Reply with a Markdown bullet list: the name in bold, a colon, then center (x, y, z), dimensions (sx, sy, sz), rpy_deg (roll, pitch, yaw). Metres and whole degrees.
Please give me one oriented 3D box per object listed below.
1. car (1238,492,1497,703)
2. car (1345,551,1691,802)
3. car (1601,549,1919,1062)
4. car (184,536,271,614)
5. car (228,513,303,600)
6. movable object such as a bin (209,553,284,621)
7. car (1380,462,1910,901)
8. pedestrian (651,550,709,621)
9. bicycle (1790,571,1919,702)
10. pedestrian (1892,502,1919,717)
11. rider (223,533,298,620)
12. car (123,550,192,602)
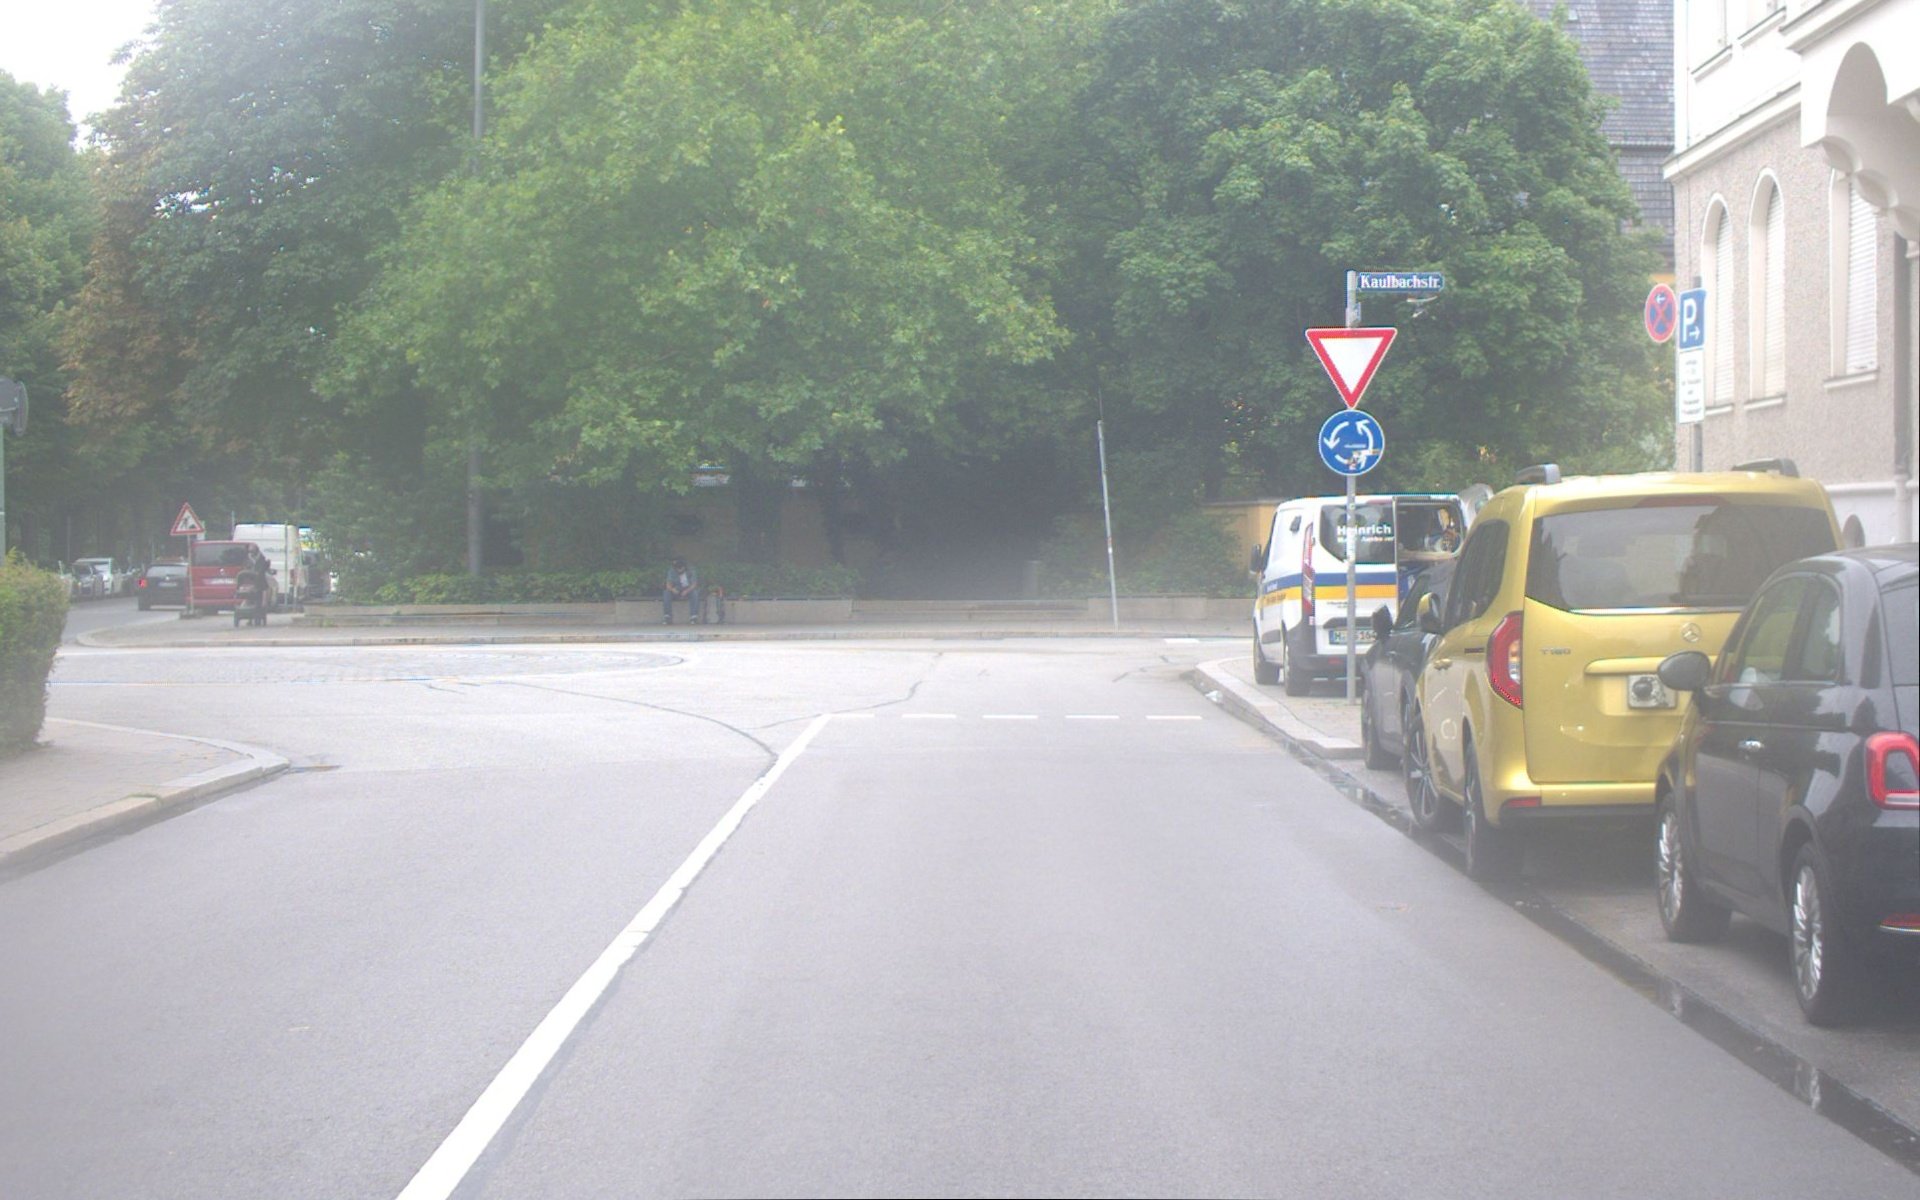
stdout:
- **car**: center (4.058, -0.073, 34.990), dimensions (1.915, 1.955, 4.927), rpy_deg (-2, 1, -1)
- **car**: center (3.530, 0.427, 22.351), dimensions (1.664, 1.452, 3.896), rpy_deg (0, 1, 1)
- **car**: center (3.363, 0.570, 11.912), dimensions (1.631, 1.479, 3.783), rpy_deg (-1, 1, 1)
- **car**: center (-18.660, -0.655, 87.699), dimensions (2.041, 1.916, 4.447), rpy_deg (-1, 1, -11)
- **car**: center (-20.836, -1.317, 103.323), dimensions (2.041, 2.549, 5.250), rpy_deg (-1, 1, -10)
- **movable object such as a bin**: center (-14.047, -0.262, 67.685), dimensions (1.078, 1.263, 1.086), rpy_deg (-3, 1, 8)
- **car**: center (3.183, 0.300, 16.918), dimensions (1.850, 1.846, 4.820), rpy_deg (0, 1, 3)
- **pedestrian**: center (-4.722, -0.251, 58.117), dimensions (0.812, 1.185, 0.919), rpy_deg (0, 1, 6)
- **bicycle**: center (8.205, 0.312, 31.385), dimensions (0.694, 1.090, 2.283), rpy_deg (-2, 1, 1)
- **pedestrian**: center (8.128, 0.059, 27.903), dimensions (0.691, 1.731, 0.735), rpy_deg (-2, -2, -44)
- **rider**: center (-13.941, -0.476, 68.540), dimensions (1.082, 1.662, 1.139), rpy_deg (-3, 1, 8)
- **car**: center (-23.719, -0.720, 101.687), dimensions (1.787, 1.487, 4.001), rpy_deg (-1, 1, -10)
